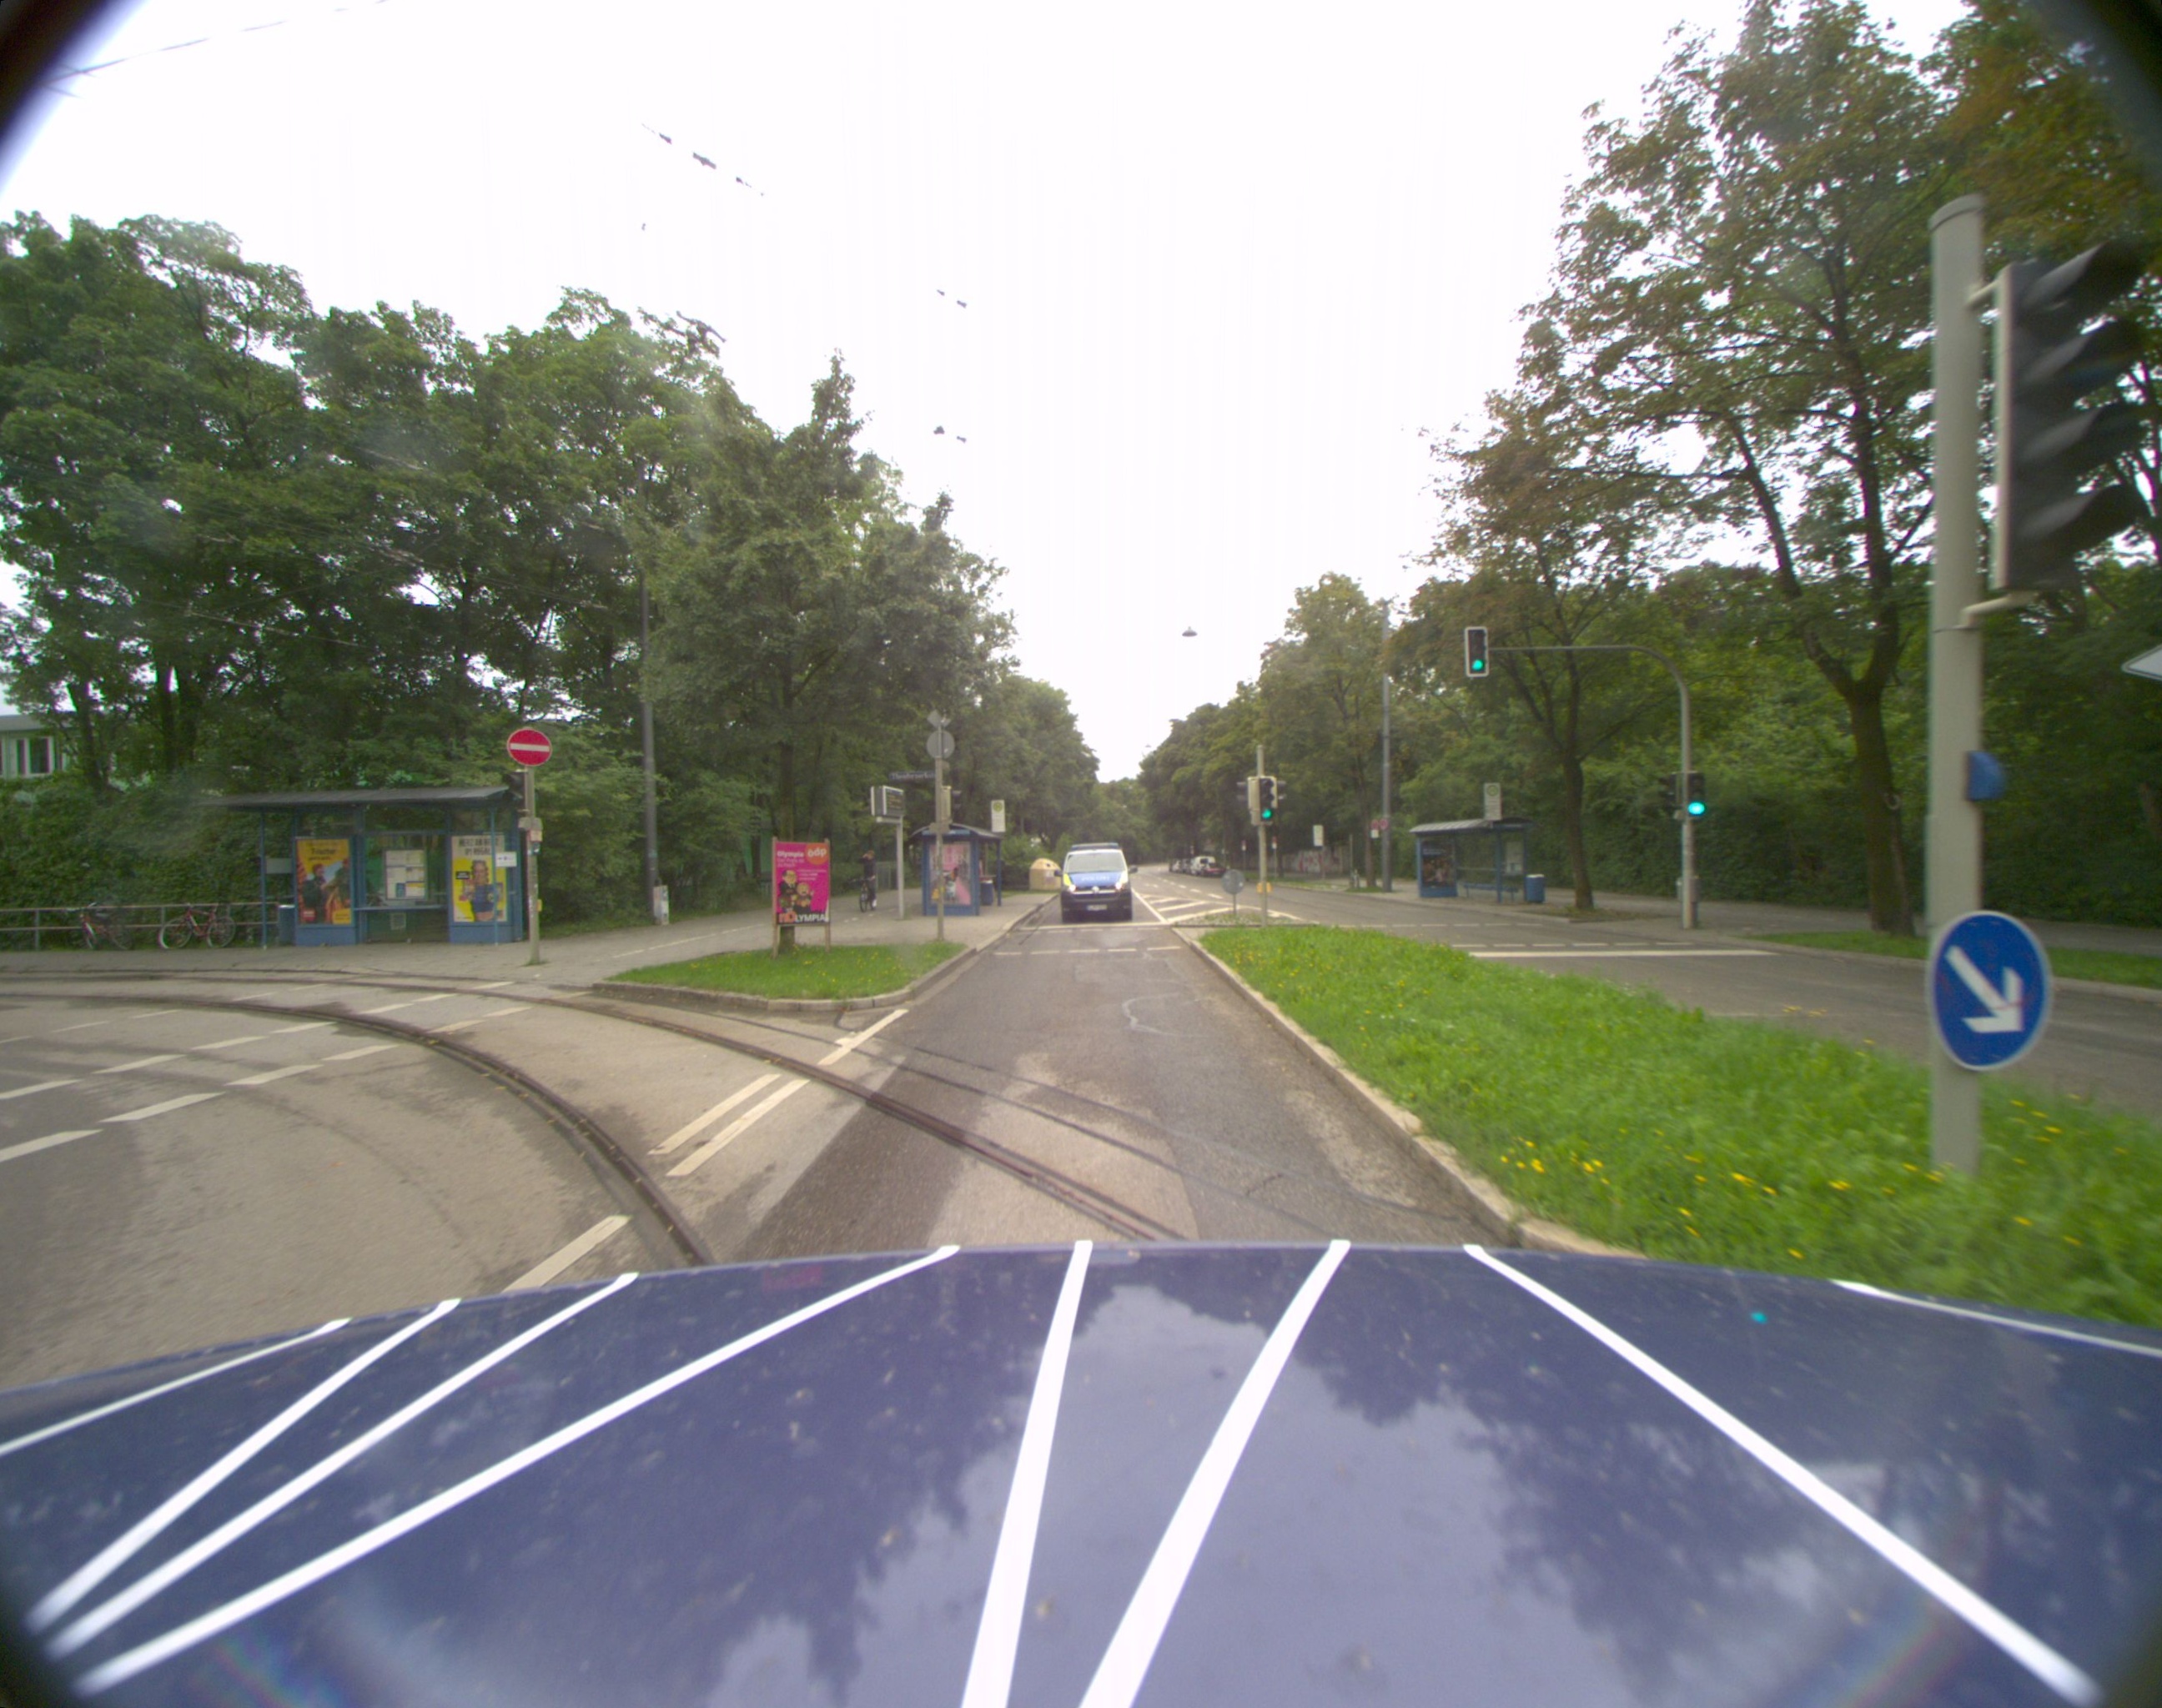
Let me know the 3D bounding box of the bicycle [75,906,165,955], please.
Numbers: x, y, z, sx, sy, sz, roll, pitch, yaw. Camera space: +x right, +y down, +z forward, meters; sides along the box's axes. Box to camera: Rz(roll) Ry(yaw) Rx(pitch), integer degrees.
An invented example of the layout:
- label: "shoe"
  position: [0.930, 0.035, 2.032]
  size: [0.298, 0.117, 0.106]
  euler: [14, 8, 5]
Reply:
- label: "bicycle"
  position: [-19.936, 1.584, 15.765]
  size: [1.483, 0.946, 0.373]
  euler: [-1, 1, 5]

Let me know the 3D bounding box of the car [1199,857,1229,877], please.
- label: "car"
  position: [11.277, 1.047, 64.756]
  size: [1.888, 1.532, 4.000]
  euler: [-2, 1, 1]

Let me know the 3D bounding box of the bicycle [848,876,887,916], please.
- label: "bicycle"
  position: [-6.454, 1.259, 23.026]
  size: [0.580, 1.072, 1.912]
  euler: [-2, 1, 1]

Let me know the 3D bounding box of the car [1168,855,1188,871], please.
- label: "car"
  position: [11.509, 1.083, 90.164]
  size: [1.888, 1.716, 4.000]
  euler: [-2, 1, 1]

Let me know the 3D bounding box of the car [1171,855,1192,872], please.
- label: "car"
  position: [11.224, 1.003, 85.024]
  size: [1.888, 1.716, 4.000]
  euler: [-2, 1, 1]

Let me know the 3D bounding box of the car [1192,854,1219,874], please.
- label: "car"
  position: [11.496, 0.925, 70.340]
  size: [1.888, 1.716, 4.000]
  euler: [-2, 1, 1]

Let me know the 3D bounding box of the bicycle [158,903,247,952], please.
- label: "bicycle"
  position: [-18.068, 1.510, 15.632]
  size: [1.483, 0.946, 0.373]
  euler: [-1, 1, 5]

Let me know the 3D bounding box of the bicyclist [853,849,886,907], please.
- label: "bicyclist"
  position: [-6.469, 0.731, 23.311]
  size: [0.726, 1.719, 0.726]
  euler: [-2, 1, 1]

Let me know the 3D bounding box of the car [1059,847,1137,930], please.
- label: "car"
  position: [0.452, 0.819, 21.476]
  size: [1.903, 2.041, 5.708]
  euler: [0, 1, 1]
